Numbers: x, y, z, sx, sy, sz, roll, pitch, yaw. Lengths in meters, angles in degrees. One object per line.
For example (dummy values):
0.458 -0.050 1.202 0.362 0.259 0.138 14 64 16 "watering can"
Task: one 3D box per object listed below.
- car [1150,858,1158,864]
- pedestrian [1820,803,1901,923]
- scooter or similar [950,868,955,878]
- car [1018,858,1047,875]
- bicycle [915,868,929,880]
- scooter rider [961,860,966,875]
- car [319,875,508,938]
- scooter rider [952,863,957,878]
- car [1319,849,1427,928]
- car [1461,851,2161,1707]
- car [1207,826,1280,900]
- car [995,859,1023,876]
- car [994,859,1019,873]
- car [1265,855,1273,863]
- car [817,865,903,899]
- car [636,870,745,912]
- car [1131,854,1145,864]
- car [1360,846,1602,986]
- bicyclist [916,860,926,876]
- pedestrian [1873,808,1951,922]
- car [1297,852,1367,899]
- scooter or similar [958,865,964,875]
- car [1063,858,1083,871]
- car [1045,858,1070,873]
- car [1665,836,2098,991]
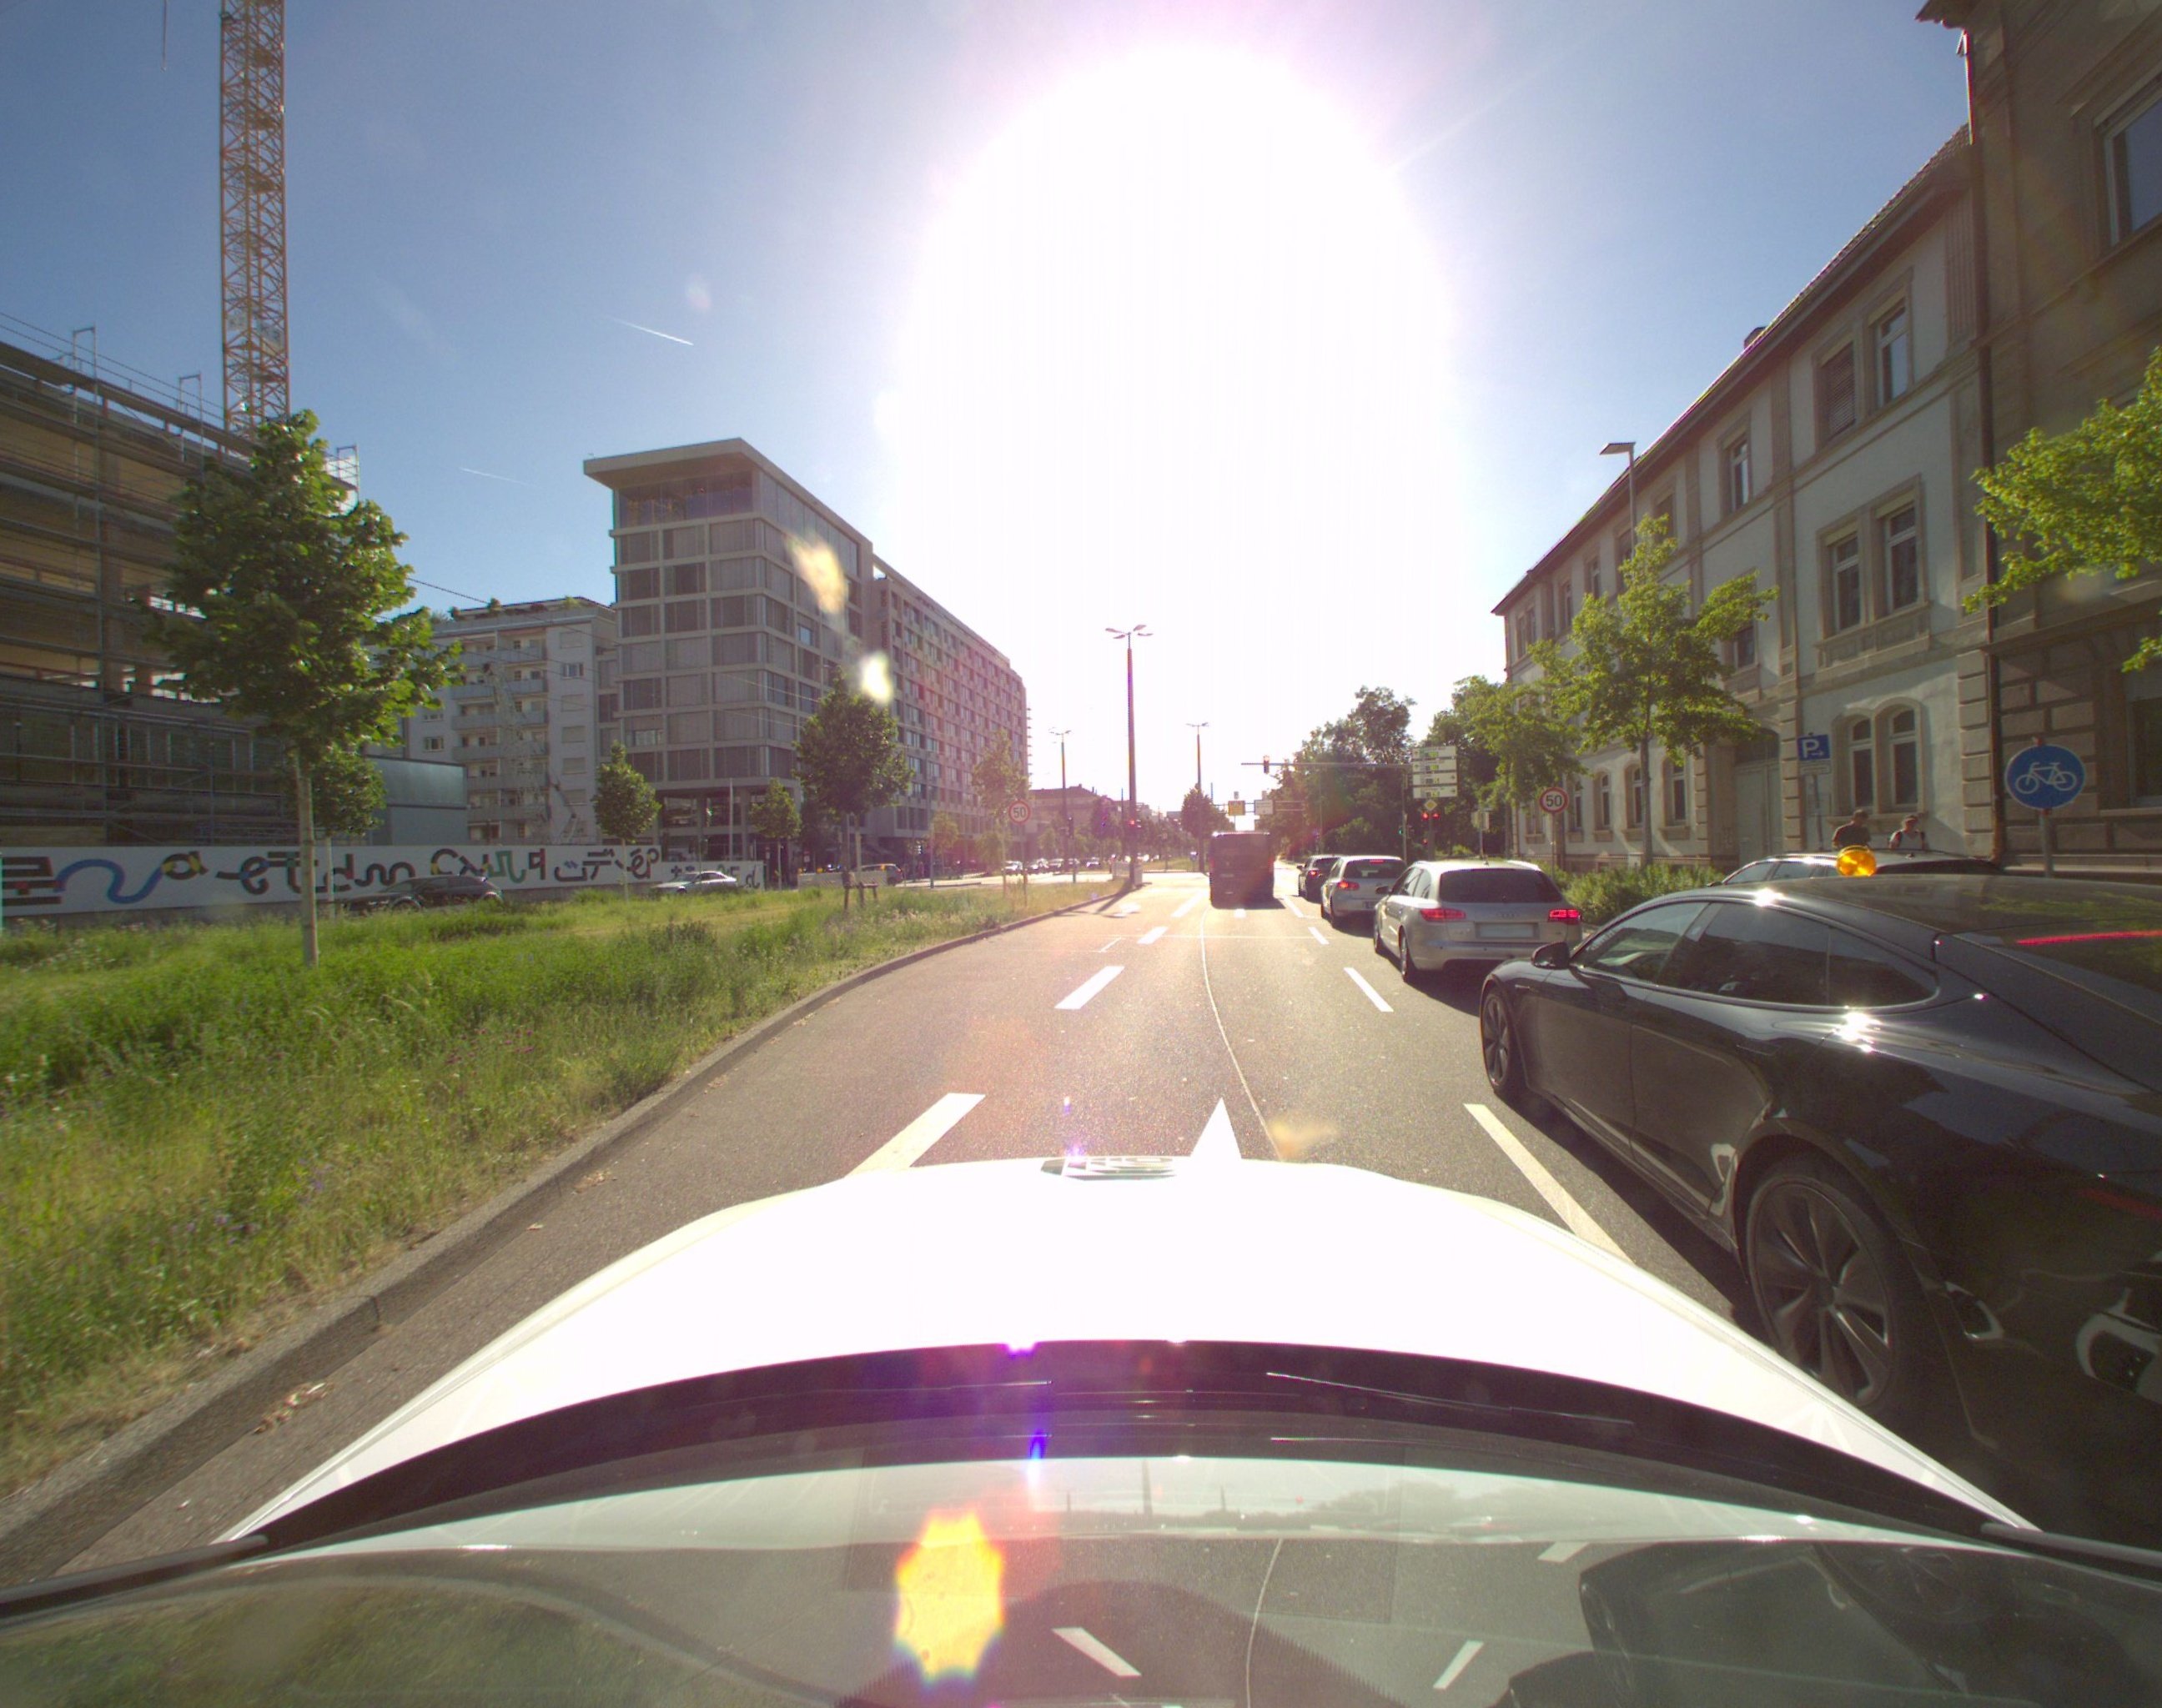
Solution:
19.951 1.913 222.365 1.778 1.651 4.014 -2 0 13 "car"
12.982 0.147 13.582 0.654 1.913 0.589 -5 -1 11 "pedestrian"
-12.417 1.851 78.567 0.284 0.947 0.768 -2 -1 5 "scooter or similar"
-4.896 1.260 82.533 1.778 1.651 4.014 -2 0 13 "car"
-15.377 1.920 78.719 0.582 1.100 1.629 0 -1 16 "bicycle"
-11.287 1.309 78.096 0.340 1.453 0.240 -2 -1 12 "scooter rider"
-22.440 1.704 27.628 1.977 1.792 4.548 -2 0 18 "car"
-12.161 1.596 78.470 0.340 1.453 0.240 -2 -1 12 "scooter rider"
6.233 0.659 17.778 1.738 1.527 4.019 0 0 13 "car"
3.181 0.712 3.251 2.038 1.444 4.539 0 0 12 "car"
5.457 0.264 27.456 2.204 2.267 4.498 0 0 11 "car"
-7.498 1.357 85.345 1.778 1.651 4.014 -2 0 13 "car"
-9.119 1.472 99.767 1.778 1.651 4.014 -2 0 13 "car"
43.905 1.163 190.235 1.780 1.873 3.861 0 0 10 "car"
-13.189 1.625 48.745 4.546 1.792 1.978 -1 0 -35 "car"
-18.579 1.722 38.987 1.977 1.792 4.550 -2 0 20 "car"
9.756 0.897 140.307 1.778 1.651 4.014 -2 0 13 "car"
4.956 0.629 10.857 1.736 1.427 4.854 -1 0 12 "car"
-15.459 1.373 78.784 0.589 1.580 0.896 0 -1 16 "bicyclist"
13.829 0.180 13.572 0.559 1.821 0.589 -5 -1 11 "pedestrian"
8.151 0.674 26.735 1.780 1.428 3.861 0 0 10 "car"
-11.520 1.575 78.061 0.227 0.947 0.770 -2 -1 13 "scooter or similar"
-1.111 1.458 112.318 1.778 1.651 4.014 -2 0 13 "car"
-2.540 1.257 90.341 1.778 1.651 4.014 -2 0 13 "car"
9.697 0.609 10.538 1.637 1.475 4.716 -4 -1 12 "car"
